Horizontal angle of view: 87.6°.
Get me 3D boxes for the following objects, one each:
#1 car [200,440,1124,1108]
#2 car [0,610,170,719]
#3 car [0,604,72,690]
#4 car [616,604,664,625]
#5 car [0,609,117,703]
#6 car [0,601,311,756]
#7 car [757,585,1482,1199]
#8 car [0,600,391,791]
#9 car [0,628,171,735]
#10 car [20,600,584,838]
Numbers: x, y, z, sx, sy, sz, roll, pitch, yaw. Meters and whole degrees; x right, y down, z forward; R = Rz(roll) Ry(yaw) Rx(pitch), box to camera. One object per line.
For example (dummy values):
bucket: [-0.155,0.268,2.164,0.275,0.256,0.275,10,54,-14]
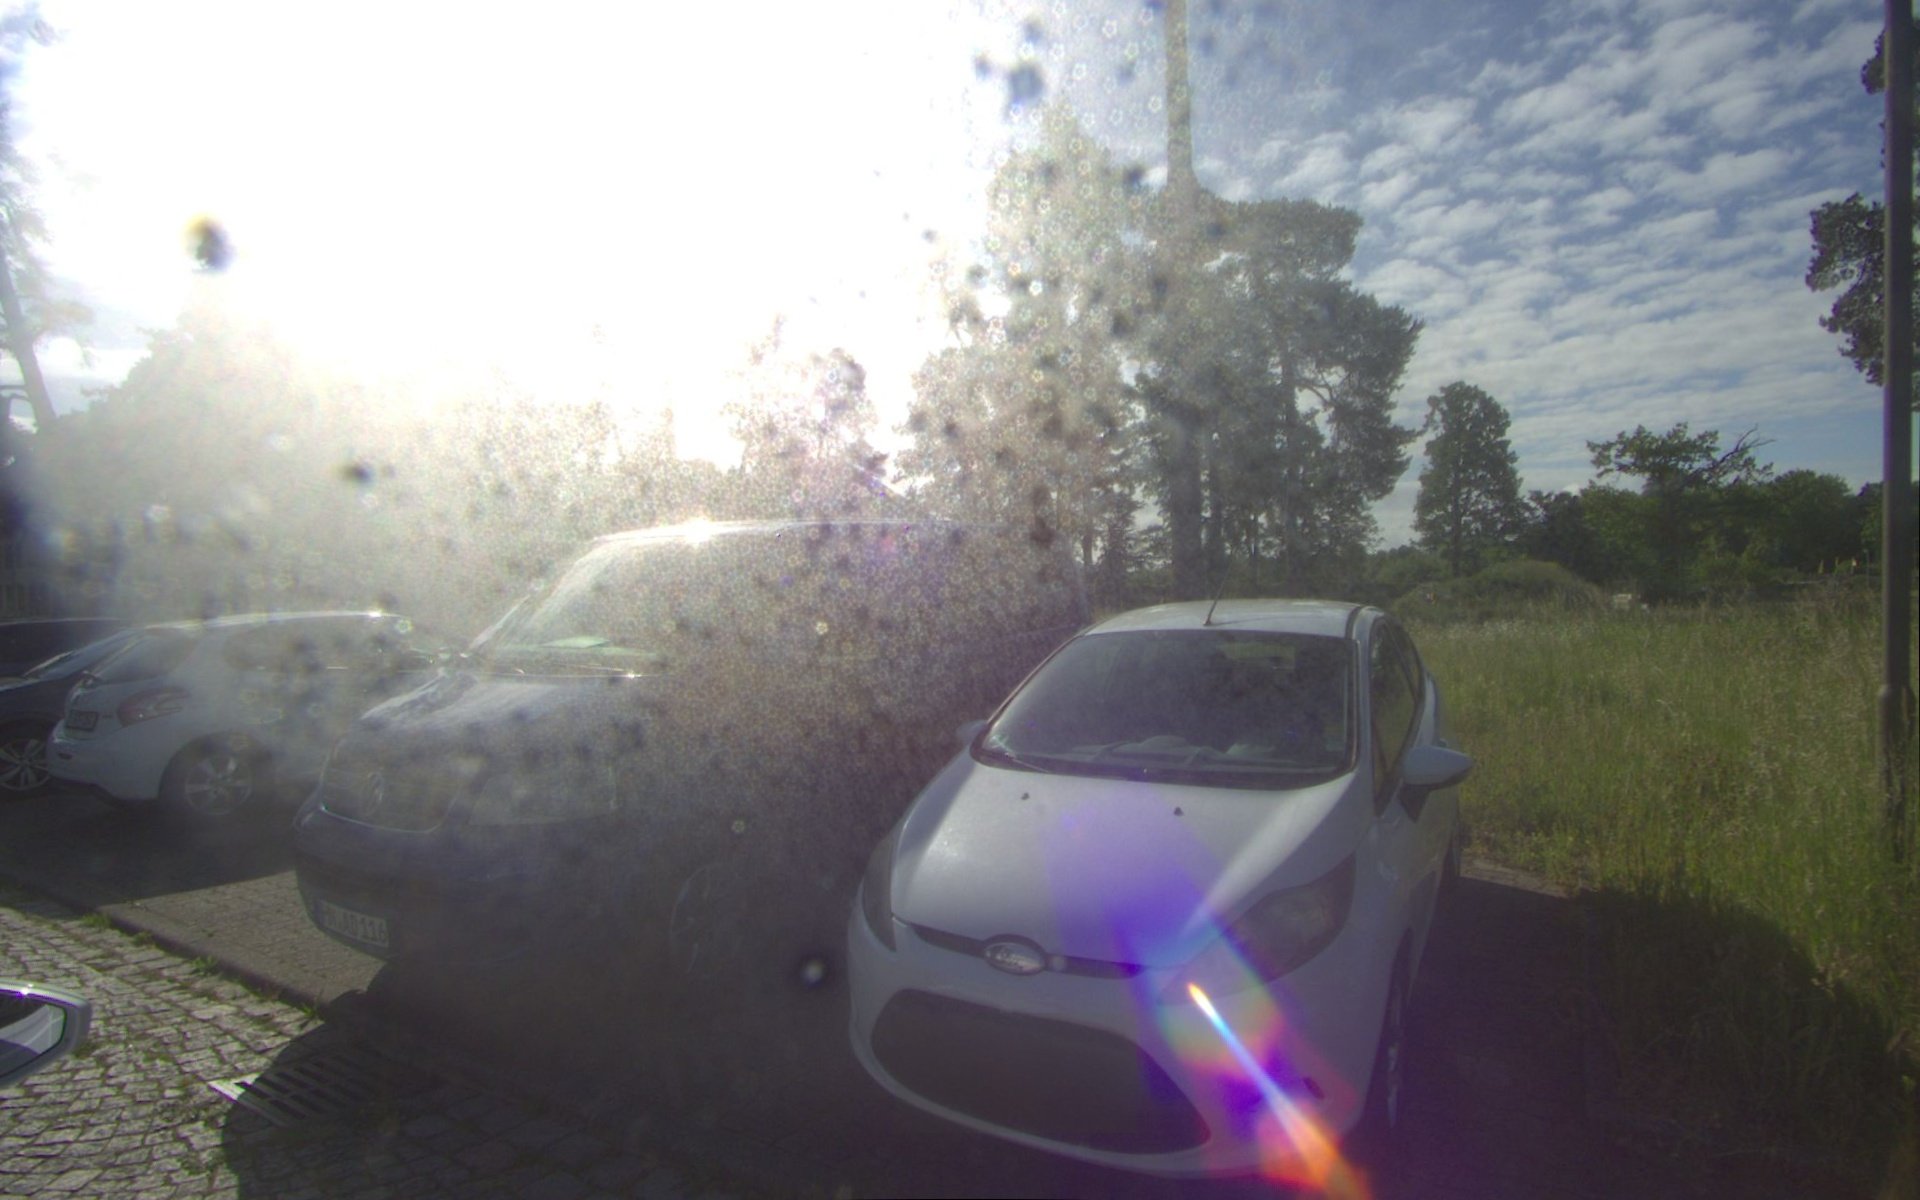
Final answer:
car: [-0.969,0.457,5.572,1.972,2.041,4.741,0,2,33]
car: [-14.091,0.937,14.387,1.632,1.468,3.970,-1,1,32]
car: [-18.430,0.915,17.017,1.842,1.476,4.610,0,2,30]
car: [-27.332,1.235,85.550,1.743,1.693,3.625,-1,0,35]
car: [-16.092,0.931,15.429,1.763,1.407,4.389,-1,1,31]
car: [-9.964,0.830,11.652,1.643,1.475,3.653,-1,2,32]
car: [1.072,0.731,3.953,1.586,1.487,3.713,0,2,30]
car: [-7.904,0.802,9.682,1.733,1.470,3.769,0,1,34]
car: [-12.379,1.034,12.687,1.515,1.259,3.452,-1,0,33]
car: [-5.254,0.781,8.465,1.611,1.512,3.636,-1,0,33]
